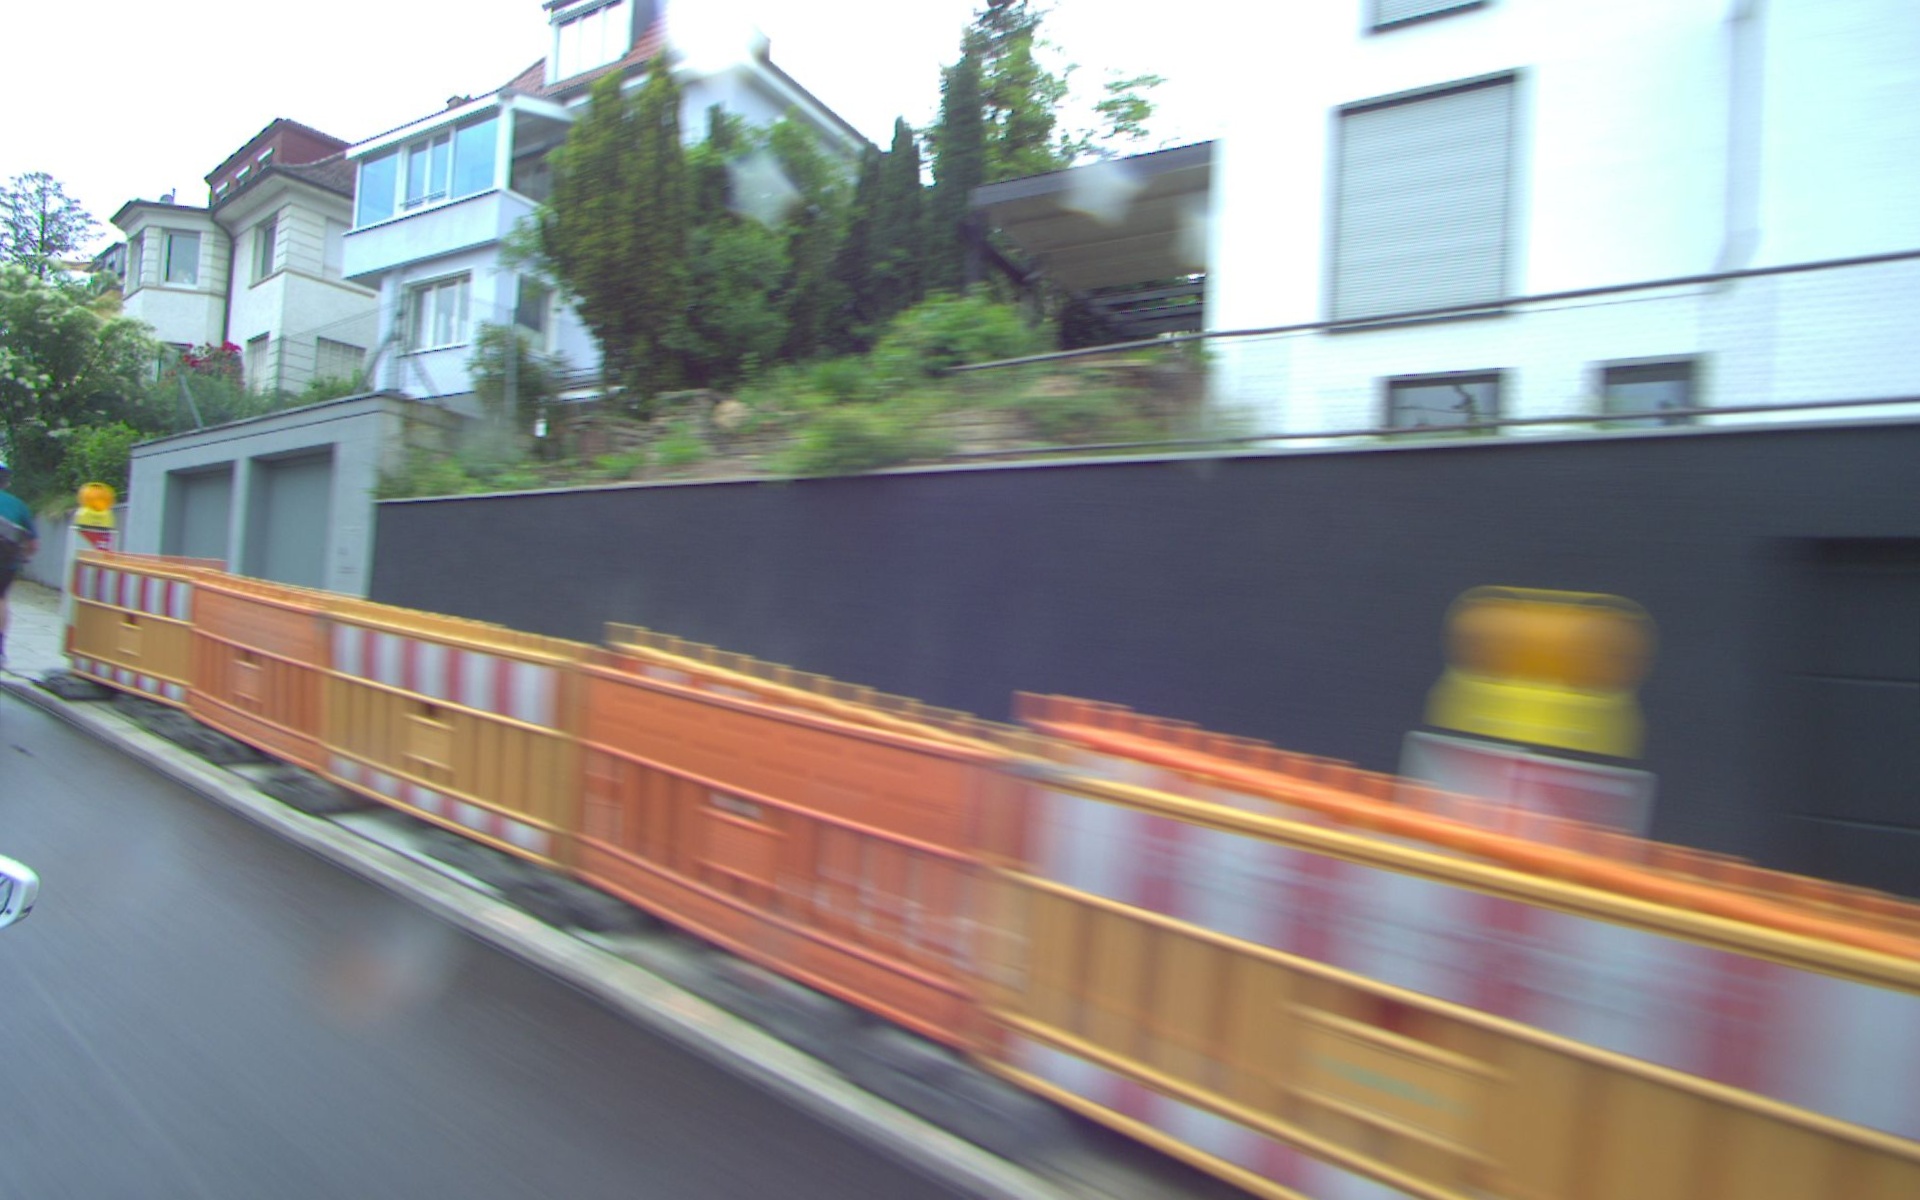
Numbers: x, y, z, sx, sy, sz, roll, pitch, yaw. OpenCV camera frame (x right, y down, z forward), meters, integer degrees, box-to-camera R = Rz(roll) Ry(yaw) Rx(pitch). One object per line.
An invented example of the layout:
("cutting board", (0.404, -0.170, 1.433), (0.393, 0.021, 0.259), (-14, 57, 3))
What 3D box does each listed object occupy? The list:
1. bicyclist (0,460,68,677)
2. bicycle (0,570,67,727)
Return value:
("bicyclist", (-7.028, -0.260, 7.161), (0.872, 1.490, 0.725), (6, -1, 36))
("bicycle", (-7.125, 0.286, 7.178), (1.645, 0.976, 0.730), (6, -2, 37))
